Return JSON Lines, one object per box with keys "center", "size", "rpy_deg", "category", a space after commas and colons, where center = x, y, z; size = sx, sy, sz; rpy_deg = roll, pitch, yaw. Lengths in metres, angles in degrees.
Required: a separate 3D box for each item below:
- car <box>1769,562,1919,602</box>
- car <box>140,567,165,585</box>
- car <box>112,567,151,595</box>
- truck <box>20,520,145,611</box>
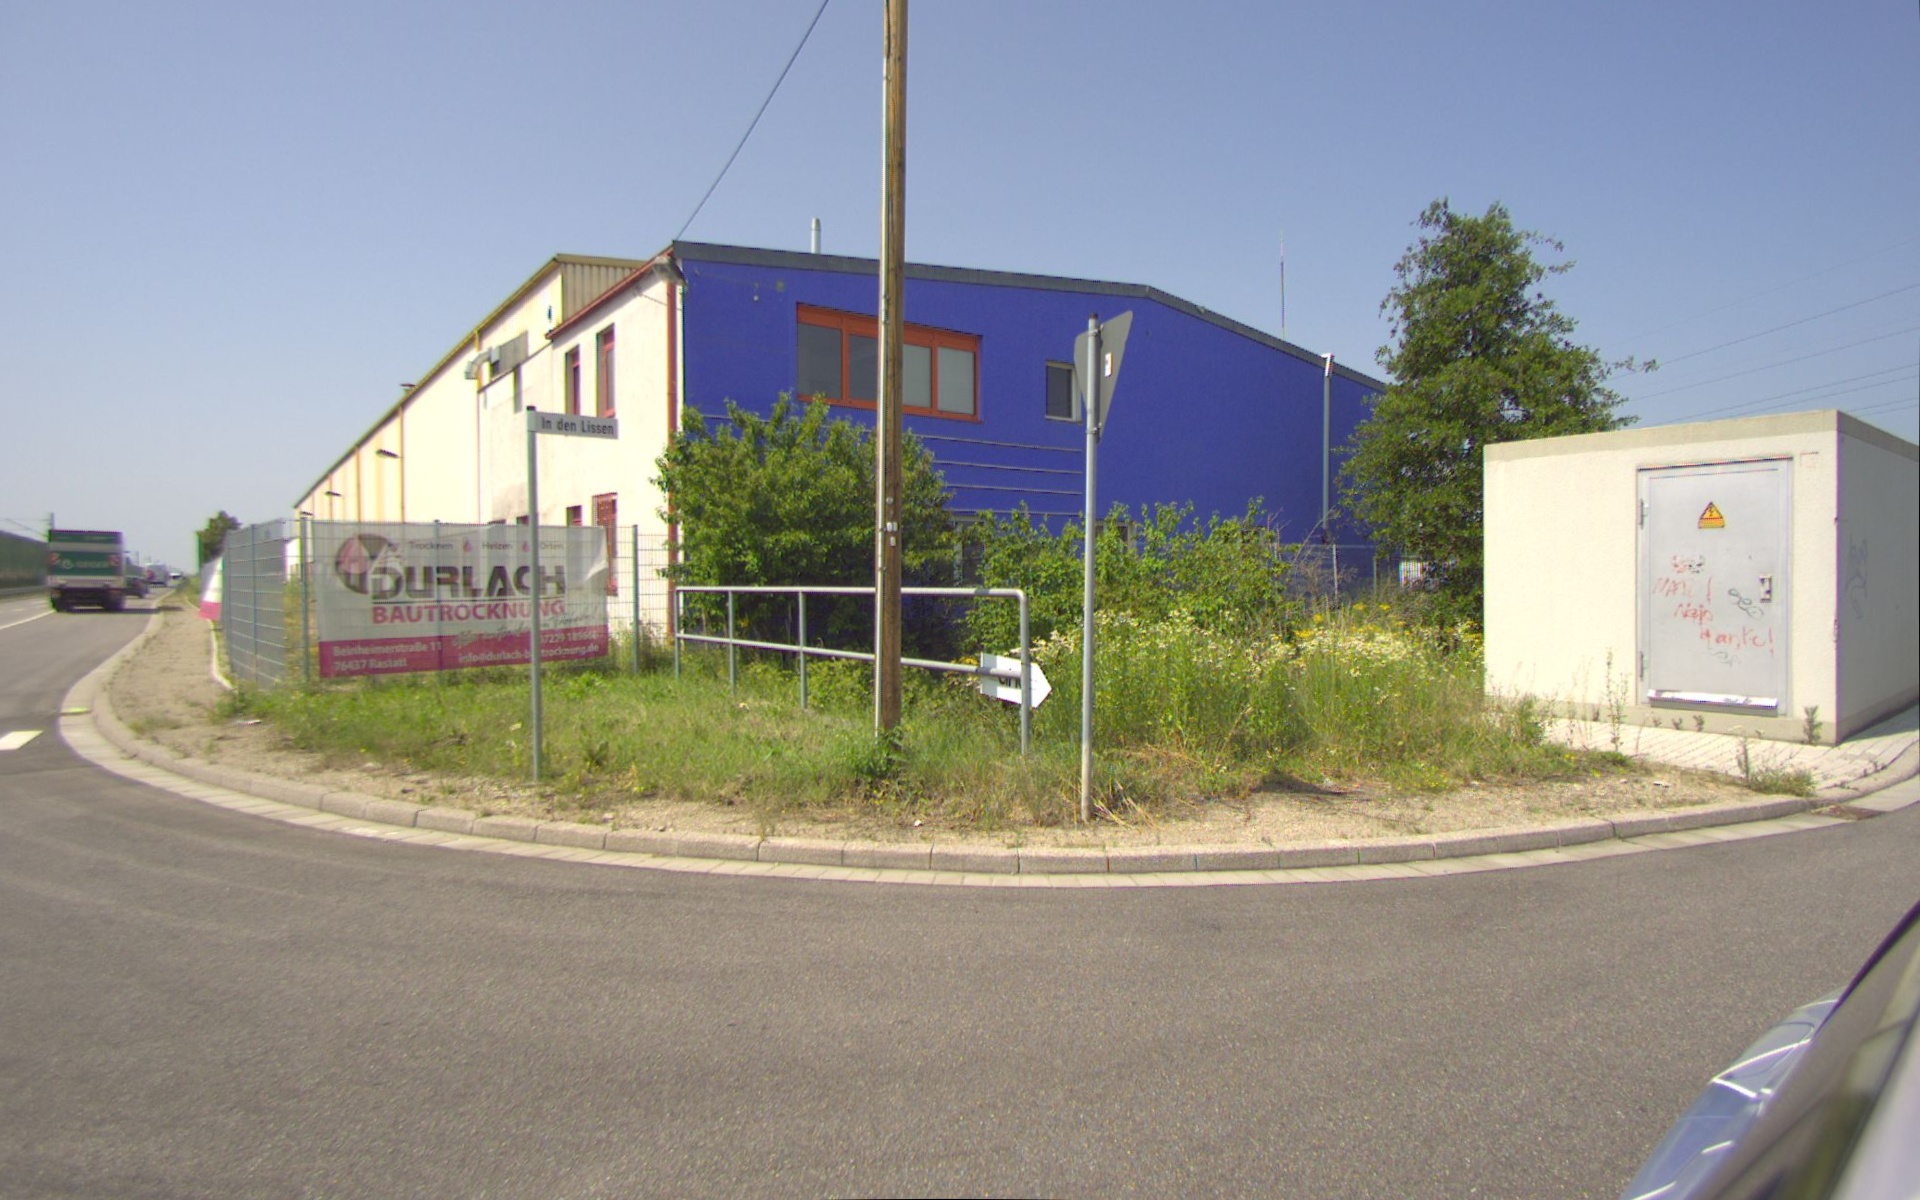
{"center": [34.207, -0.678, 39.103], "size": [4.555, 1.445, 1.971], "rpy_deg": [0, 1, 40], "category": "car"}
{"center": [-91.499, -2.689, 114.728], "size": [1.963, 2.039, 3.999], "rpy_deg": [-1, 1, -36], "category": "car"}
{"center": [-60.340, -1.364, 73.742], "size": [1.963, 2.039, 3.999], "rpy_deg": [-1, 1, -36], "category": "car"}
{"center": [-42.562, -1.551, 49.472], "size": [3.499, 3.927, 11.412], "rpy_deg": [-1, 1, -36], "category": "truck"}
